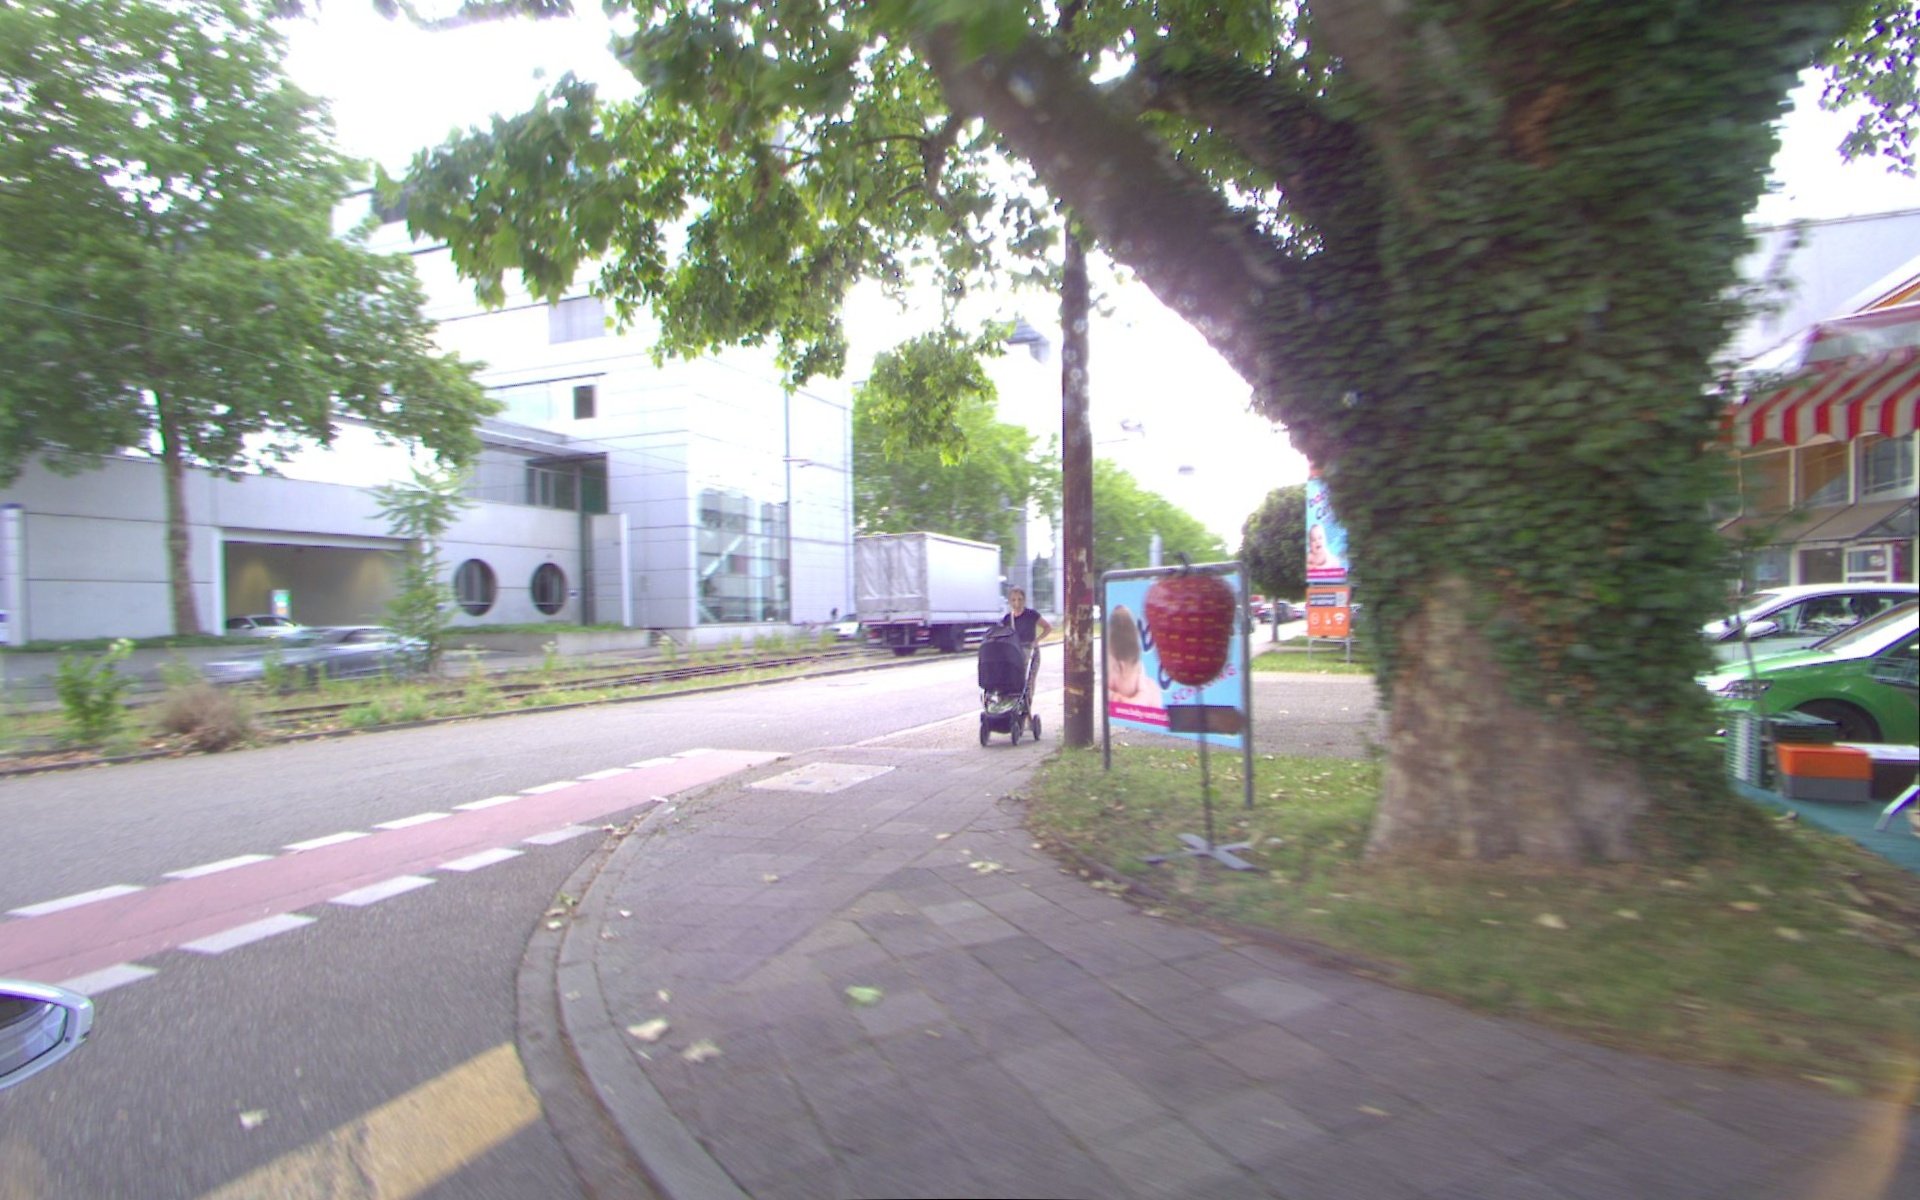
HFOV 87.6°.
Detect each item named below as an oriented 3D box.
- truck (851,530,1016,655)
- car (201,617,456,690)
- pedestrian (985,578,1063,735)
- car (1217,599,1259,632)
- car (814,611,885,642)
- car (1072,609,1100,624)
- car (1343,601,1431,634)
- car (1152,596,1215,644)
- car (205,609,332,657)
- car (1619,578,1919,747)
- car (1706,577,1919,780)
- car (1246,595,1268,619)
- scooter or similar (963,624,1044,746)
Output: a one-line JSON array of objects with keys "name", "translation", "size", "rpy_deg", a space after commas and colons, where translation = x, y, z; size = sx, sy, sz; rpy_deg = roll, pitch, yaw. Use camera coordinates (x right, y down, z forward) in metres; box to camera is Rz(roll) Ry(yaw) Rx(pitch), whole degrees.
[{"name": "truck", "translation": [-0.647, -0.193, 36.679], "size": [2.751, 3.948, 9.525], "rpy_deg": [-1, 0, 20]}, {"name": "car", "translation": [-14.506, 1.163, 23.403], "size": [1.743, 1.450, 4.956], "rpy_deg": [-1, 0, 22]}, {"name": "pedestrian", "translation": [0.758, 0.632, 11.632], "size": [0.707, 1.736, 0.963], "rpy_deg": [-1, 0, 15]}, {"name": "car", "translation": [15.034, 0.823, 54.015], "size": [1.642, 1.708, 3.888], "rpy_deg": [-1, 0, 23]}, {"name": "car", "translation": [-5.671, 1.348, 51.904], "size": [1.911, 1.471, 4.061], "rpy_deg": [-1, 0, 22]}, {"name": "car", "translation": [12.354, 1.611, 97.941], "size": [1.642, 1.448, 3.888], "rpy_deg": [-1, 0, 23]}, {"name": "car", "translation": [20.772, 0.853, 48.868], "size": [3.832, 1.508, 1.666], "rpy_deg": [-1, 0, 20]}, {"name": "car", "translation": [8.495, 0.741, 37.838], "size": [1.642, 1.708, 3.925], "rpy_deg": [-1, 0, 23]}, {"name": "car", "translation": [-24.484, 1.152, 35.457], "size": [3.980, 1.599, 1.828], "rpy_deg": [-1, 0, 23]}, {"name": "car", "translation": [9.284, 0.592, 10.231], "size": [3.929, 1.589, 1.742], "rpy_deg": [-1, 0, 18]}, {"name": "car", "translation": [8.544, 0.584, 7.923], "size": [3.933, 1.532, 1.740], "rpy_deg": [-1, 0, 24]}, {"name": "car", "translation": [30.993, 0.692, 104.506], "size": [1.642, 2.432, 4.604], "rpy_deg": [-1, 0, 23]}, {"name": "scooter or similar", "translation": [0.481, 0.872, 10.681], "size": [0.635, 1.215, 1.025], "rpy_deg": [-1, 0, 16]}]
